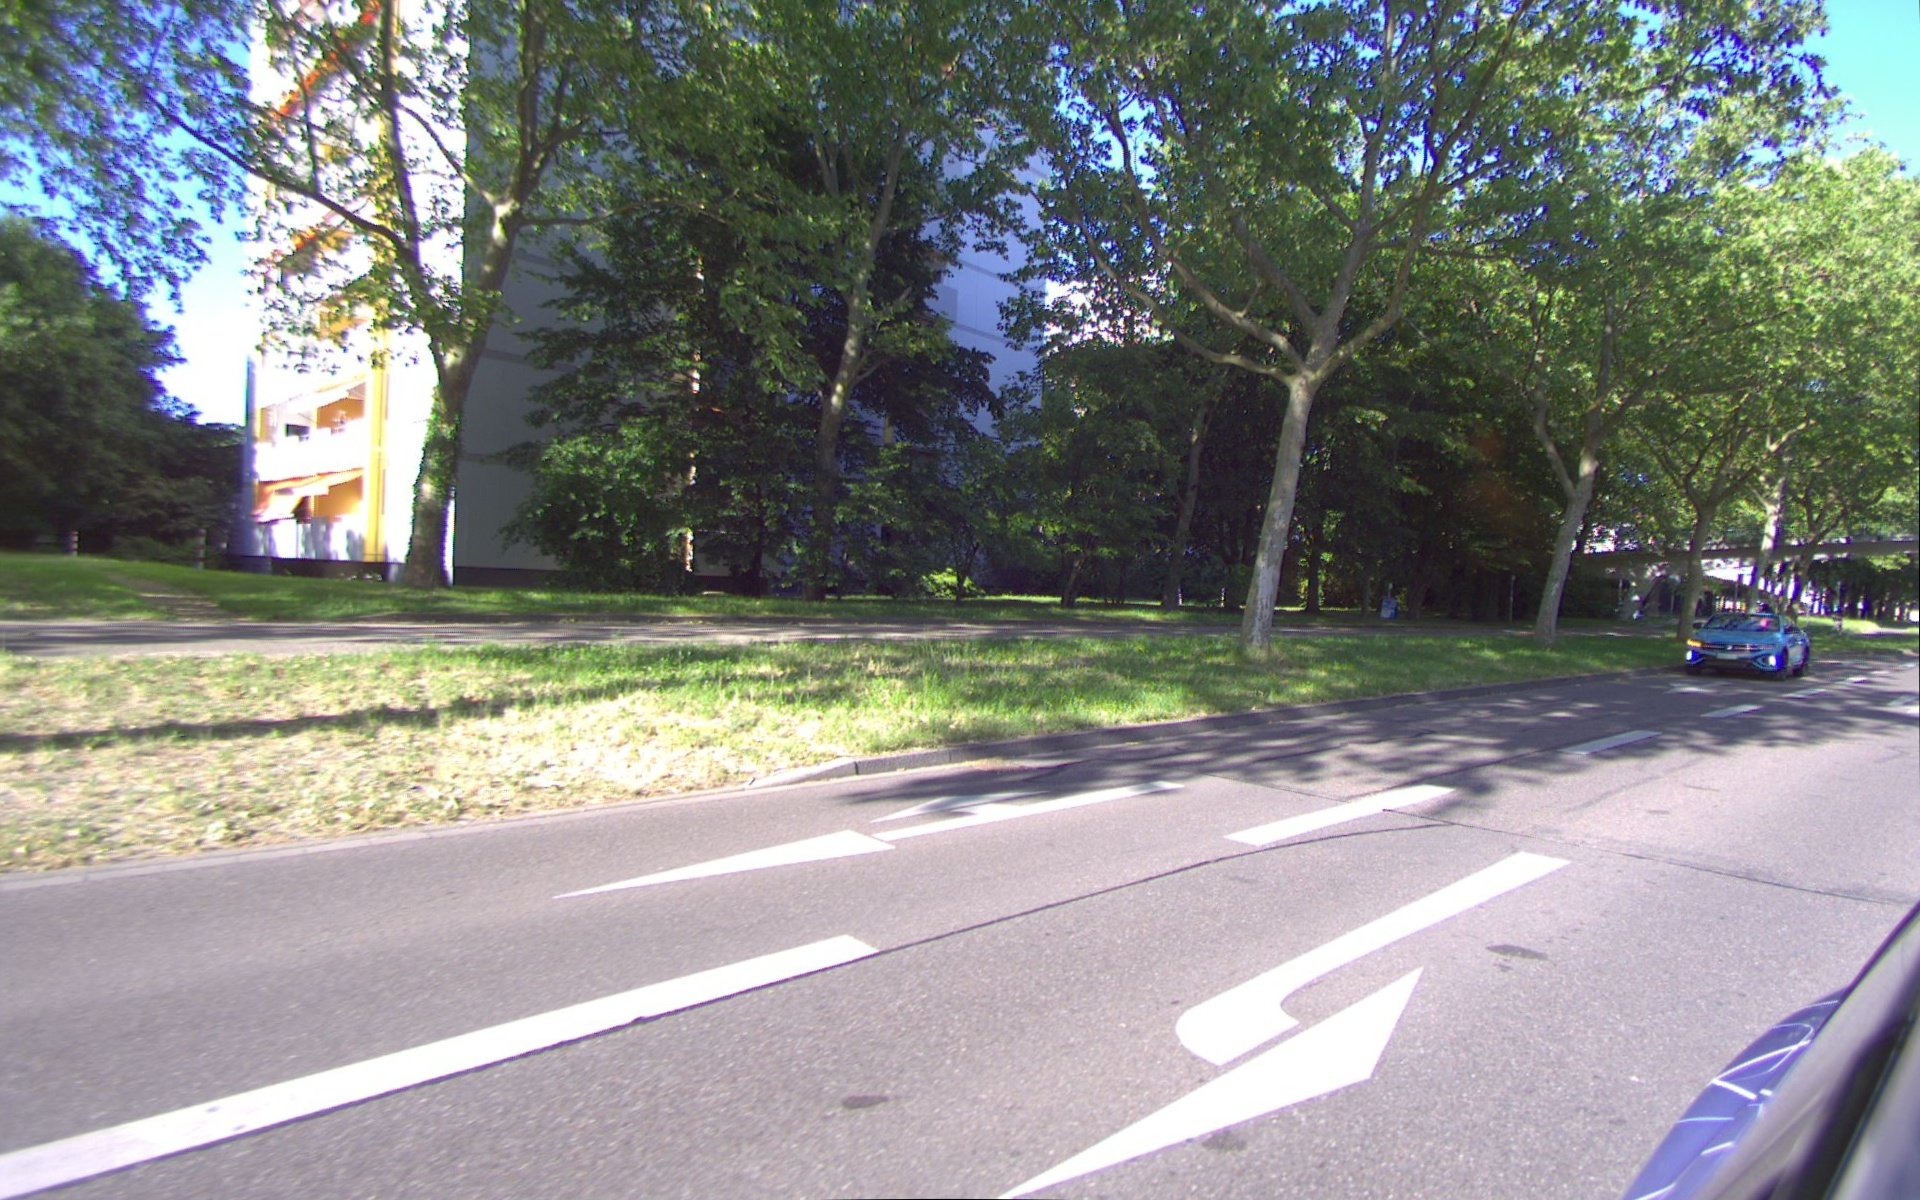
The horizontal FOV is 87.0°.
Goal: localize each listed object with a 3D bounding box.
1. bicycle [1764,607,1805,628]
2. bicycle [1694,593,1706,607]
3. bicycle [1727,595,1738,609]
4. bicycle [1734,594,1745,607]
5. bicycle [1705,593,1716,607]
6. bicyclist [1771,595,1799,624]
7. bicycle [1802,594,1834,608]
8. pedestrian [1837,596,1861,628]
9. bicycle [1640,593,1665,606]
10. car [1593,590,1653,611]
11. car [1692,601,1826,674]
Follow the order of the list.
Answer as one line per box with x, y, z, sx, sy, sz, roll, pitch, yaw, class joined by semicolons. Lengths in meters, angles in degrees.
51.595;1.073;63.348;0.798;1.160;1.840;4;3;-6;bicycle
66.213;0.013;90.498;1.776;1.269;0.576;0;0;-44;bicycle
72.475;0.172;94.948;1.776;1.269;0.576;0;0;-44;bicycle
75.815;0.036;98.453;1.776;1.269;0.576;0;0;-44;bicycle
70.337;-0.012;94.833;1.776;1.269;0.576;0;0;-44;bicycle
51.629;0.590;63.334;0.798;1.652;0.958;4;2;-6;bicyclist
77.684;0.080;91.639;2.062;1.172;0.554;4;2;38;bicycle
50.616;0.690;57.631;0.725;1.800;0.661;2;0;-5;pedestrian
62.780;-0.035;91.722;1.799;1.129;0.700;3;3;41;bicycle
53.272;0.023;81.367;1.681;1.515;3.731;4;-1;-45;car
18.445;0.818;23.301;4.029;1.502;1.778;1;0;-42;car
